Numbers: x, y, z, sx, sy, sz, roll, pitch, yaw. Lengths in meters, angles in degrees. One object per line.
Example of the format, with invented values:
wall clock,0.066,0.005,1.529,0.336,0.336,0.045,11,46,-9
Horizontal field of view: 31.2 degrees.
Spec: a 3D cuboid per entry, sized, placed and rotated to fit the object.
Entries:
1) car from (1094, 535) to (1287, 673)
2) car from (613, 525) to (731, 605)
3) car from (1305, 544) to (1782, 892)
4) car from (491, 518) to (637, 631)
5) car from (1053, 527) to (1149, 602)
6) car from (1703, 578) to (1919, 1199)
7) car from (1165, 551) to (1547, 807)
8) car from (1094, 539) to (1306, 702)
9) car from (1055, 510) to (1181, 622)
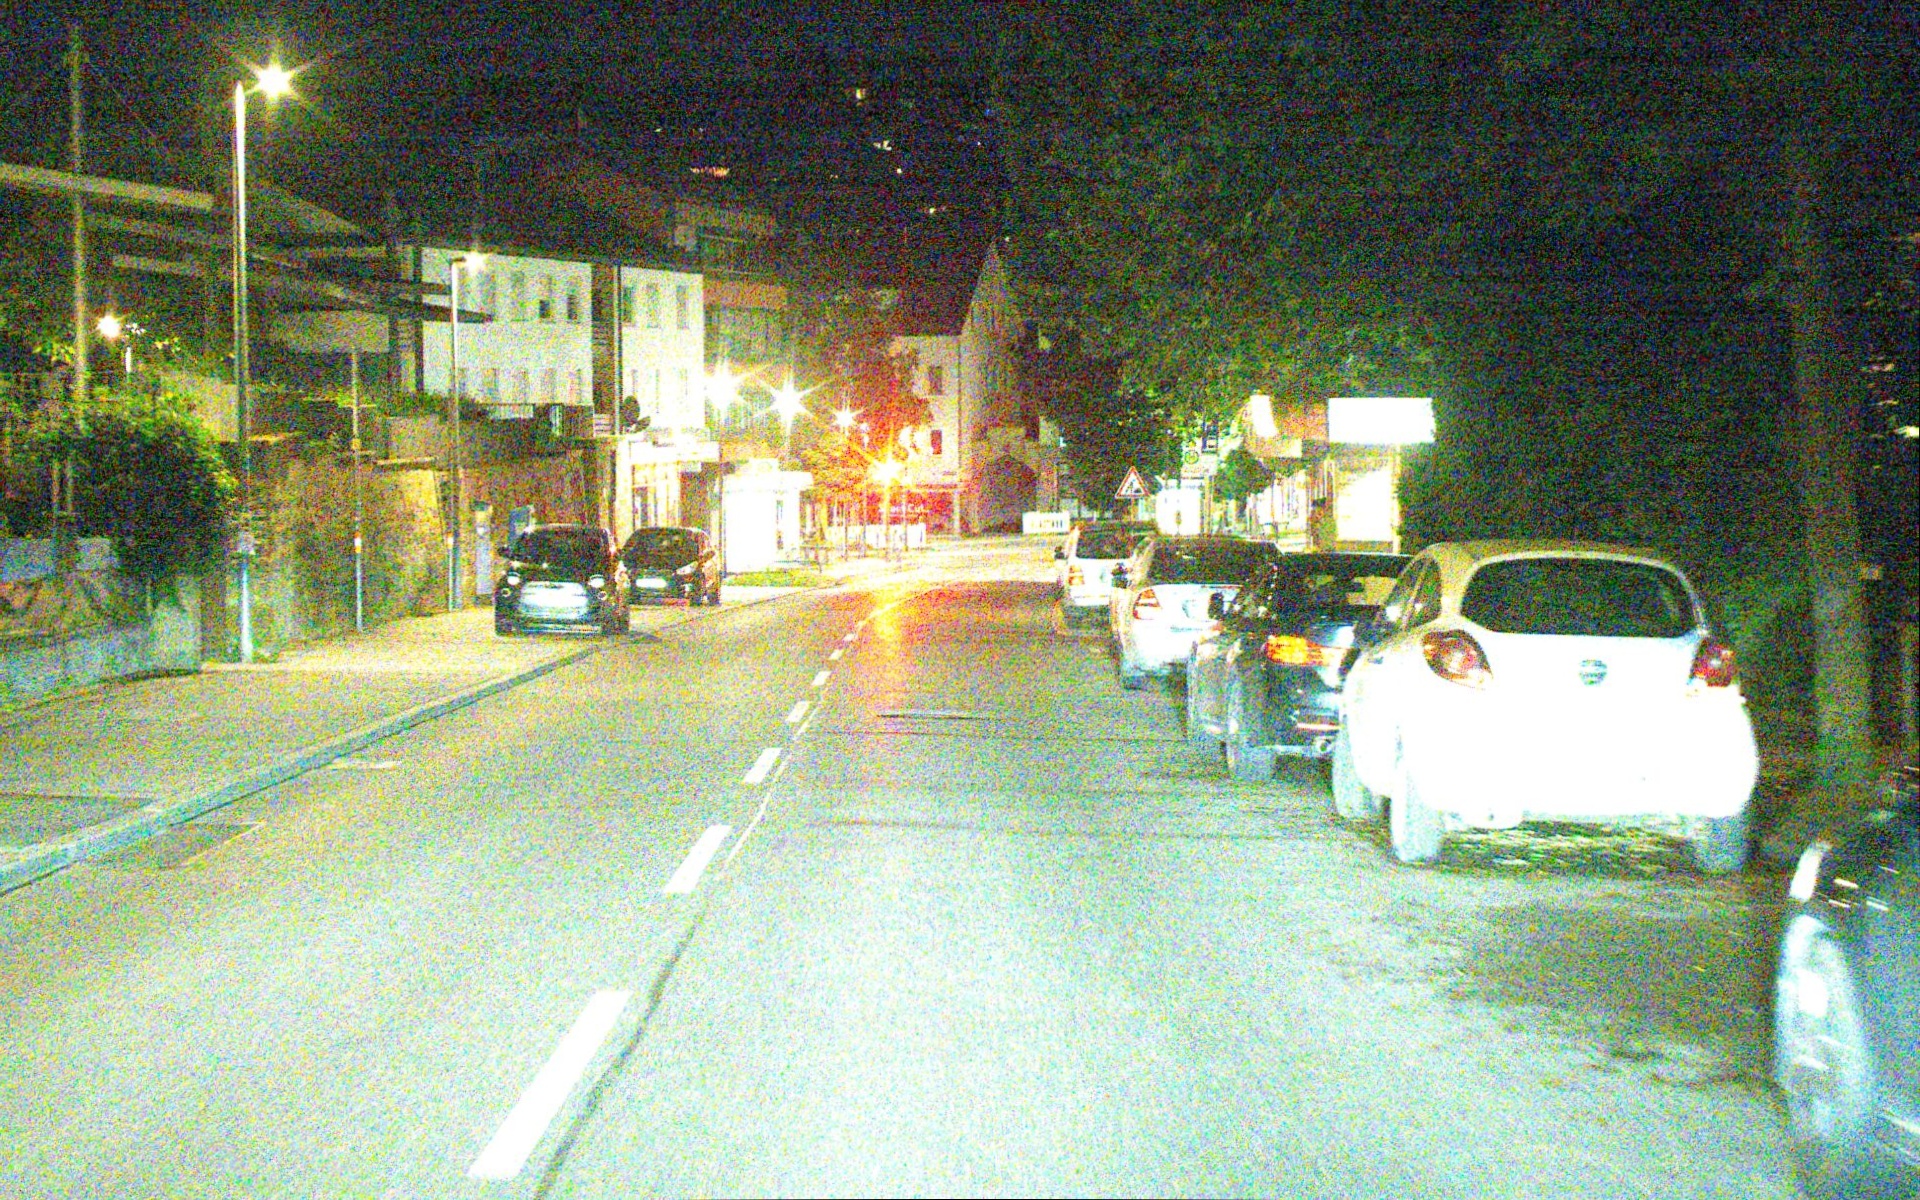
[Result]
car,2.568,0.003,39.191,1.780,1.432,4.290,1,1,-1
car,-5.496,-0.697,65.984,1.692,1.432,4.128,2,2,3
car,2.755,0.490,17.013,1.638,1.461,3.776,2,1,-1
car,-5.568,-0.355,48.686,1.691,1.518,3.691,1,0,-1
car,2.851,-0.740,70.232,1.857,1.437,4.594,-2,1,2
car,2.805,0.723,6.668,1.676,1.442,4.001,1,1,-2
car,2.402,0.424,21.928,1.762,1.411,4.441,1,1,-2
car,2.261,0.145,33.392,1.676,1.442,4.612,0,1,-1
car,2.430,-0.556,53.722,1.787,1.636,4.380,-2,1,1
